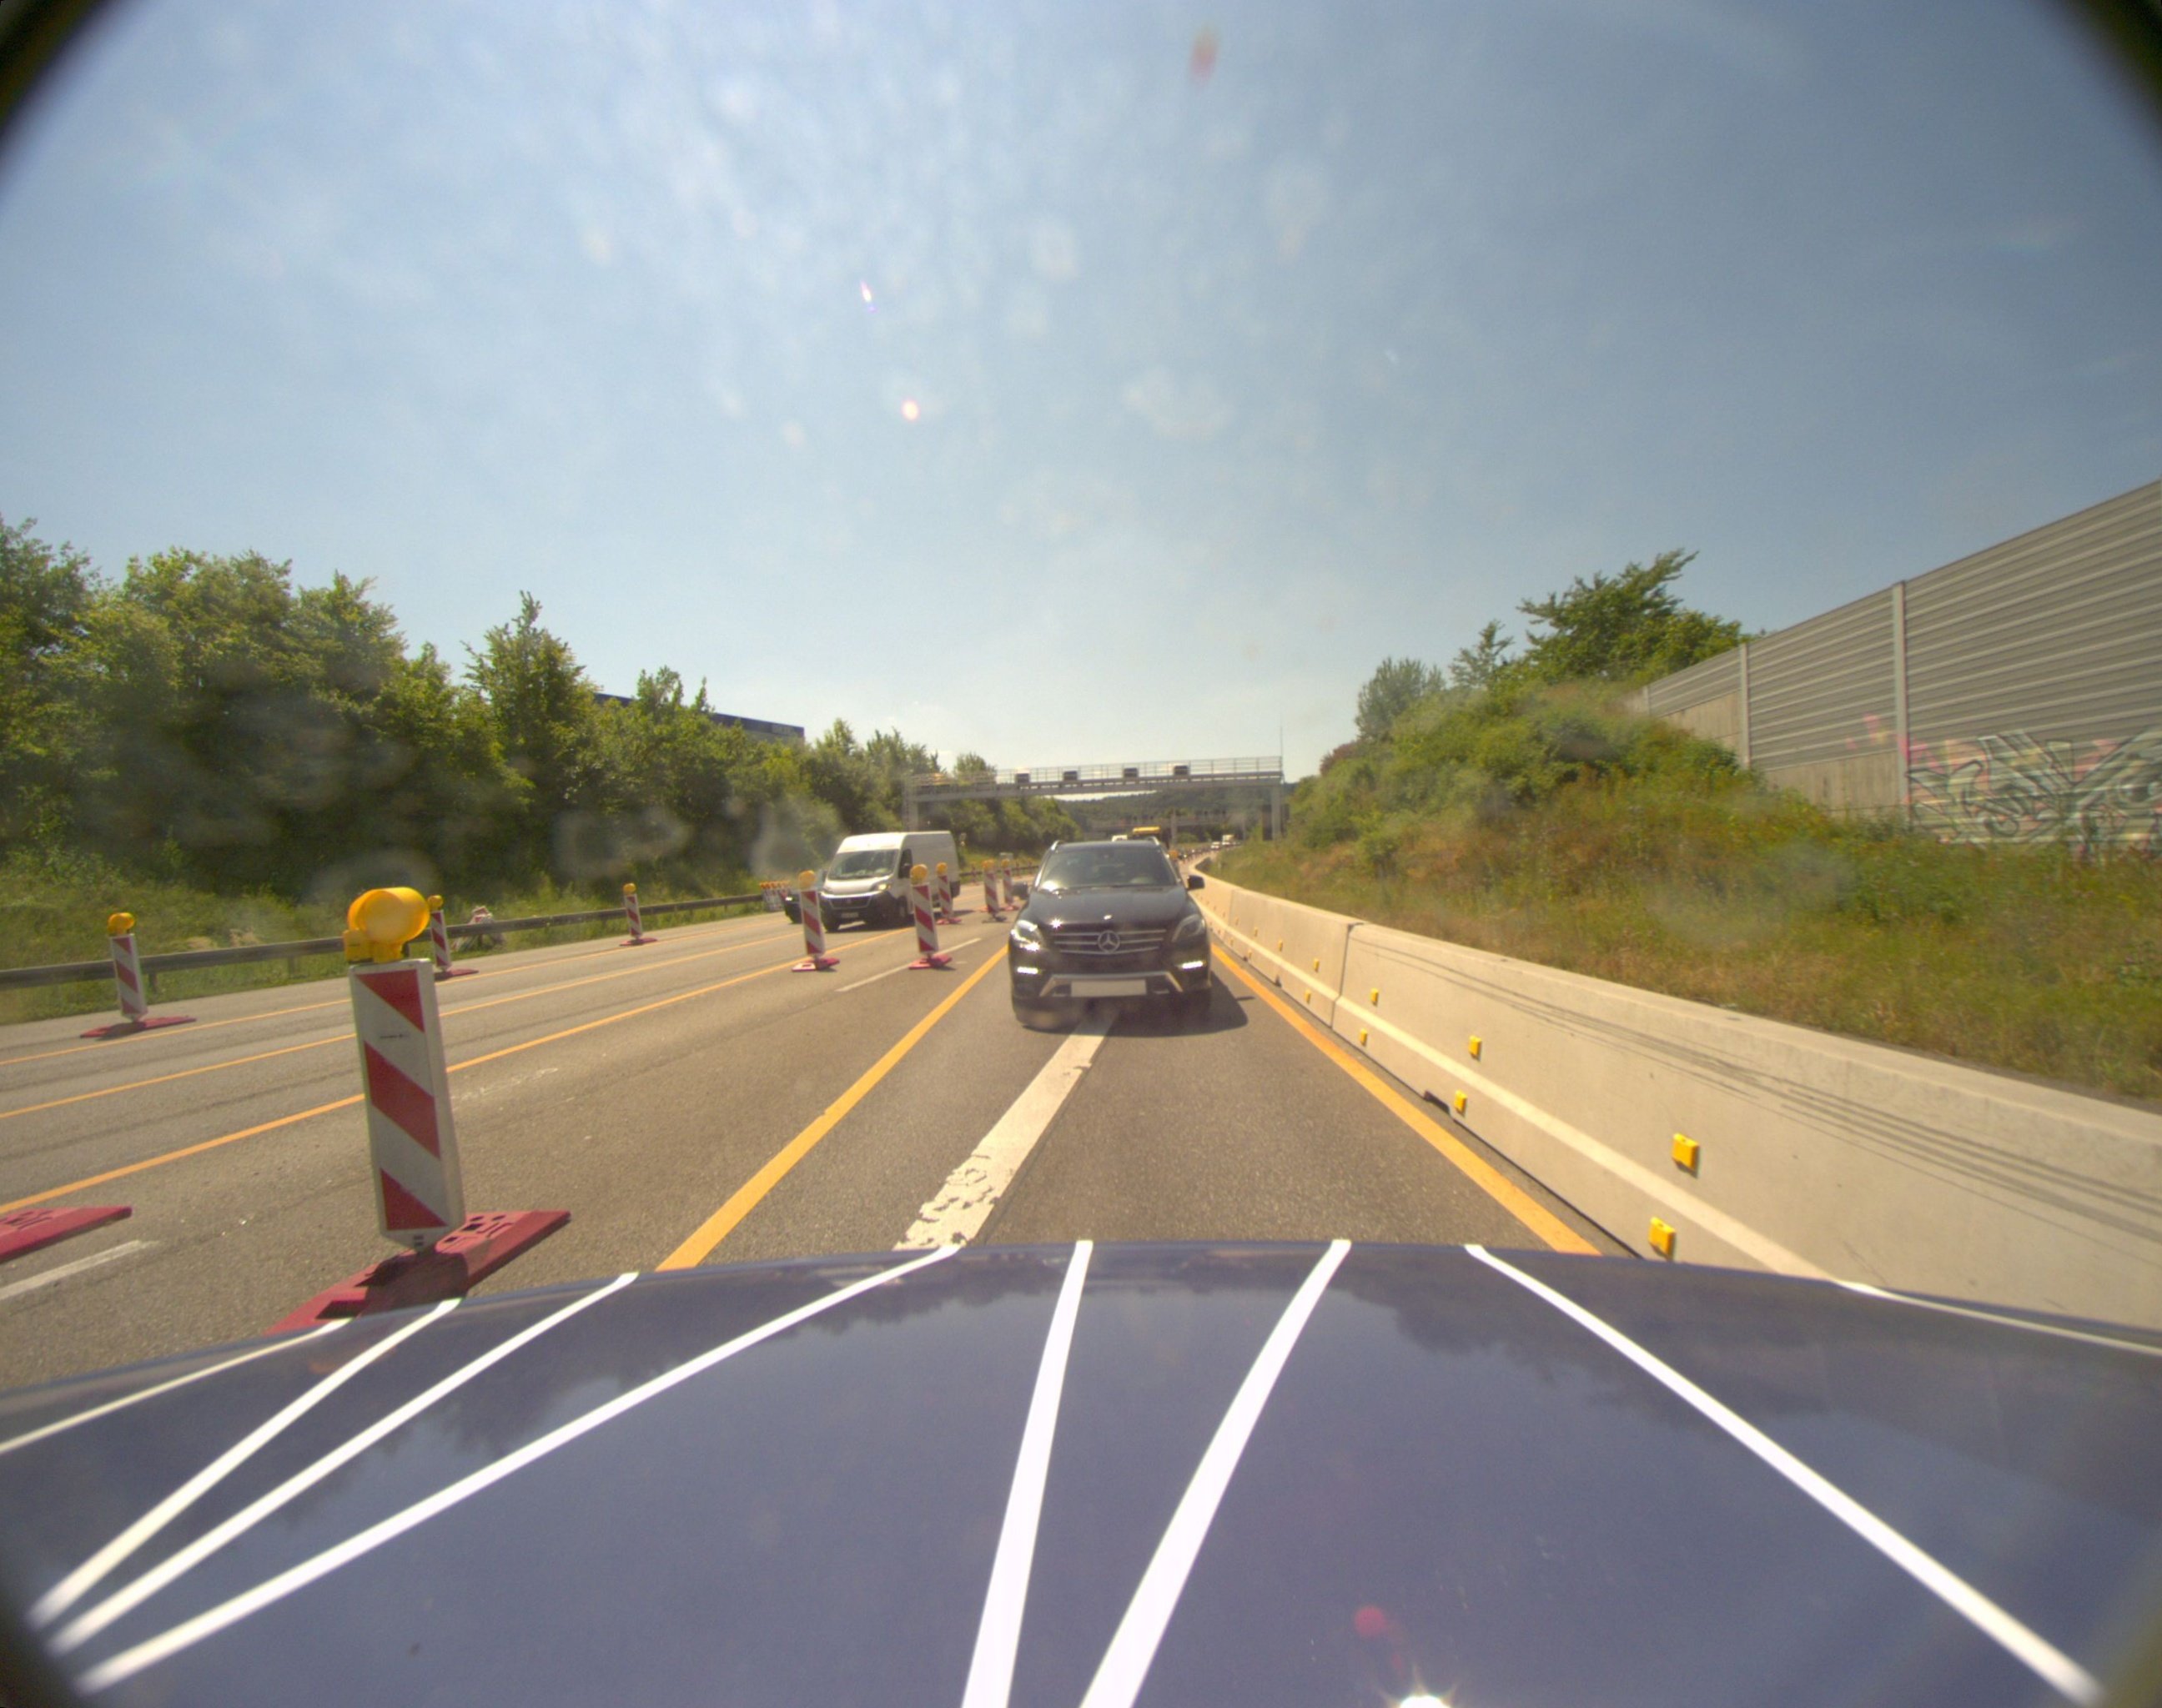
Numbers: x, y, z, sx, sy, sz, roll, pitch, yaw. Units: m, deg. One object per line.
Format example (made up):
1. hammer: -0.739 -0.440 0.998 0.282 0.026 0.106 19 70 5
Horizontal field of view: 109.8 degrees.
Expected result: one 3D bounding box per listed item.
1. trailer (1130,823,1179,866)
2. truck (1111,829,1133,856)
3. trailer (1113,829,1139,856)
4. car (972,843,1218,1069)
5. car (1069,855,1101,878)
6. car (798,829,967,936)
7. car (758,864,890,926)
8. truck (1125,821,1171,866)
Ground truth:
1. trailer: 7.597 -0.871 76.097 3.234 3.645 17.436 -3 0 10
2. truck: 6.292 -1.705 115.616 2.532 3.927 5.602 -4 0 9
3. trailer: 7.393 -1.753 122.429 2.545 3.929 13.878 -4 0 9
4. car: 0.327 0.783 8.138 1.819 1.685 4.495 -3 0 6
5. car: 0.330 0.873 54.086 1.998 1.477 4.678 -3 0 3
6. car: -5.322 0.669 21.717 2.270 2.521 6.587 -3 0 7
7. car: -8.388 1.277 25.422 2.023 1.653 5.239 -3 0 7
8. truck: 6.054 -0.863 67.591 3.227 3.639 7.088 -3 0 10
